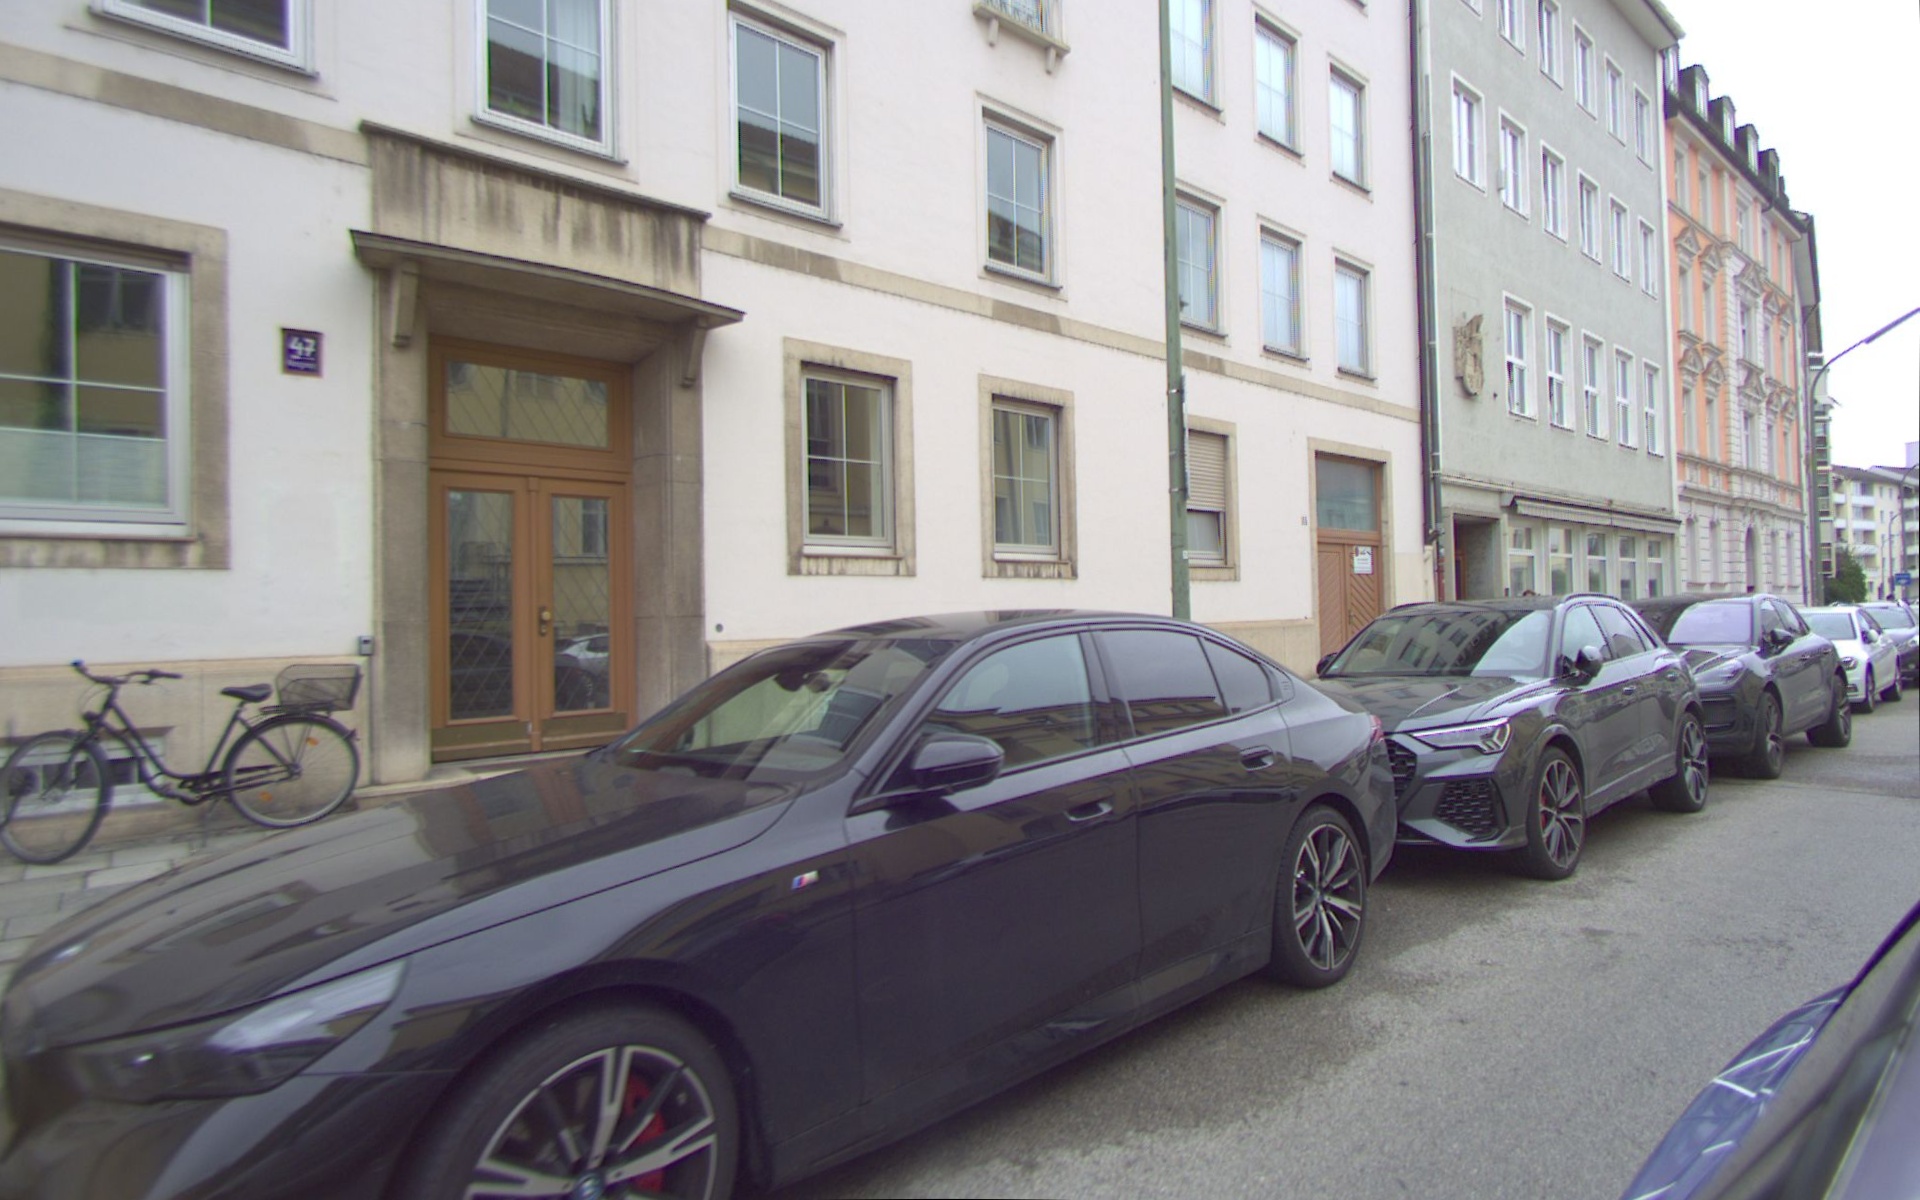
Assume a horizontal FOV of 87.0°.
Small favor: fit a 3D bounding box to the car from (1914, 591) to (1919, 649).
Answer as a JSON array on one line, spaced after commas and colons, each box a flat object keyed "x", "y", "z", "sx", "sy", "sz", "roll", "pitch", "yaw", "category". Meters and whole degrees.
[{"x": 30.089, "y": 0.576, "z": 30.132, "sx": 4.809, "sy": 1.809, "sz": 1.843, "roll": 0, "pitch": -4, "yaw": -41, "category": "car"}]

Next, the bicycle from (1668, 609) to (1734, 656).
[{"x": 18.431, "y": 0.786, "z": 25.145, "sx": 2.415, "sy": 1.088, "sz": 0.770, "roll": 0, "pitch": -1, "yaw": -41, "category": "bicycle"}]

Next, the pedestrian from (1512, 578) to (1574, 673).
[{"x": 10.460, "y": 0.442, "z": 18.171, "sx": 0.813, "sy": 1.646, "sz": 0.735, "roll": 0, "pitch": 0, "yaw": -40, "category": "pedestrian"}]

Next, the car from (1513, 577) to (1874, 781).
[{"x": 7.356, "y": 0.657, "z": 10.005, "sx": 4.252, "sy": 1.605, "sz": 1.782, "roll": 0, "pitch": -3, "yaw": -39, "category": "car"}]

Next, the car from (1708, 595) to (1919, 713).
[{"x": 12.588, "y": 0.726, "z": 14.802, "sx": 4.011, "sy": 1.483, "sz": 1.695, "roll": 0, "pitch": -3, "yaw": -40, "category": "car"}]

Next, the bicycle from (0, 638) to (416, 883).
[{"x": -4.325, "y": 0.831, "z": 5.850, "sx": 1.992, "sy": 1.141, "sz": 0.660, "roll": 0, "pitch": 0, "yaw": -41, "category": "bicycle"}]

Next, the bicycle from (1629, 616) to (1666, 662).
[{"x": 15.951, "y": 0.893, "z": 23.470, "sx": 1.495, "sy": 1.017, "sz": 0.331, "roll": 0, "pitch": -1, "yaw": -41, "category": "bicycle"}]

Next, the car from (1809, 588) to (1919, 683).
[{"x": 17.330, "y": 0.633, "z": 18.901, "sx": 4.014, "sy": 1.604, "sz": 1.693, "roll": 0, "pitch": -3, "yaw": -43, "category": "car"}]

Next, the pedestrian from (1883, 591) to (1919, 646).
[{"x": 29.244, "y": 0.583, "z": 31.357, "sx": 0.636, "sy": 1.684, "sz": 0.862, "roll": 1, "pitch": -2, "yaw": -41, "category": "pedestrian"}]

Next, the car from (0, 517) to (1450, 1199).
[{"x": -0.227, "y": 0.714, "z": 3.626, "sx": 4.734, "sy": 1.564, "sz": 1.857, "roll": -1, "pitch": -4, "yaw": -42, "category": "car"}]

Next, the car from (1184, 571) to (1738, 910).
[{"x": 3.573, "y": 0.703, "z": 6.870, "sx": 4.195, "sy": 1.605, "sz": 1.781, "roll": 0, "pitch": -3, "yaw": -40, "category": "car"}]

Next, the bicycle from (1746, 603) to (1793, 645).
[{"x": 23.789, "y": 0.700, "z": 29.721, "sx": 2.057, "sy": 1.198, "sz": 0.652, "roll": 2, "pitch": -1, "yaw": -39, "category": "bicycle"}]

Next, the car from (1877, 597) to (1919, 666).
[{"x": 22.261, "y": 0.639, "z": 22.817, "sx": 4.010, "sy": 1.470, "sz": 1.695, "roll": -1, "pitch": -3, "yaw": -39, "category": "car"}]
